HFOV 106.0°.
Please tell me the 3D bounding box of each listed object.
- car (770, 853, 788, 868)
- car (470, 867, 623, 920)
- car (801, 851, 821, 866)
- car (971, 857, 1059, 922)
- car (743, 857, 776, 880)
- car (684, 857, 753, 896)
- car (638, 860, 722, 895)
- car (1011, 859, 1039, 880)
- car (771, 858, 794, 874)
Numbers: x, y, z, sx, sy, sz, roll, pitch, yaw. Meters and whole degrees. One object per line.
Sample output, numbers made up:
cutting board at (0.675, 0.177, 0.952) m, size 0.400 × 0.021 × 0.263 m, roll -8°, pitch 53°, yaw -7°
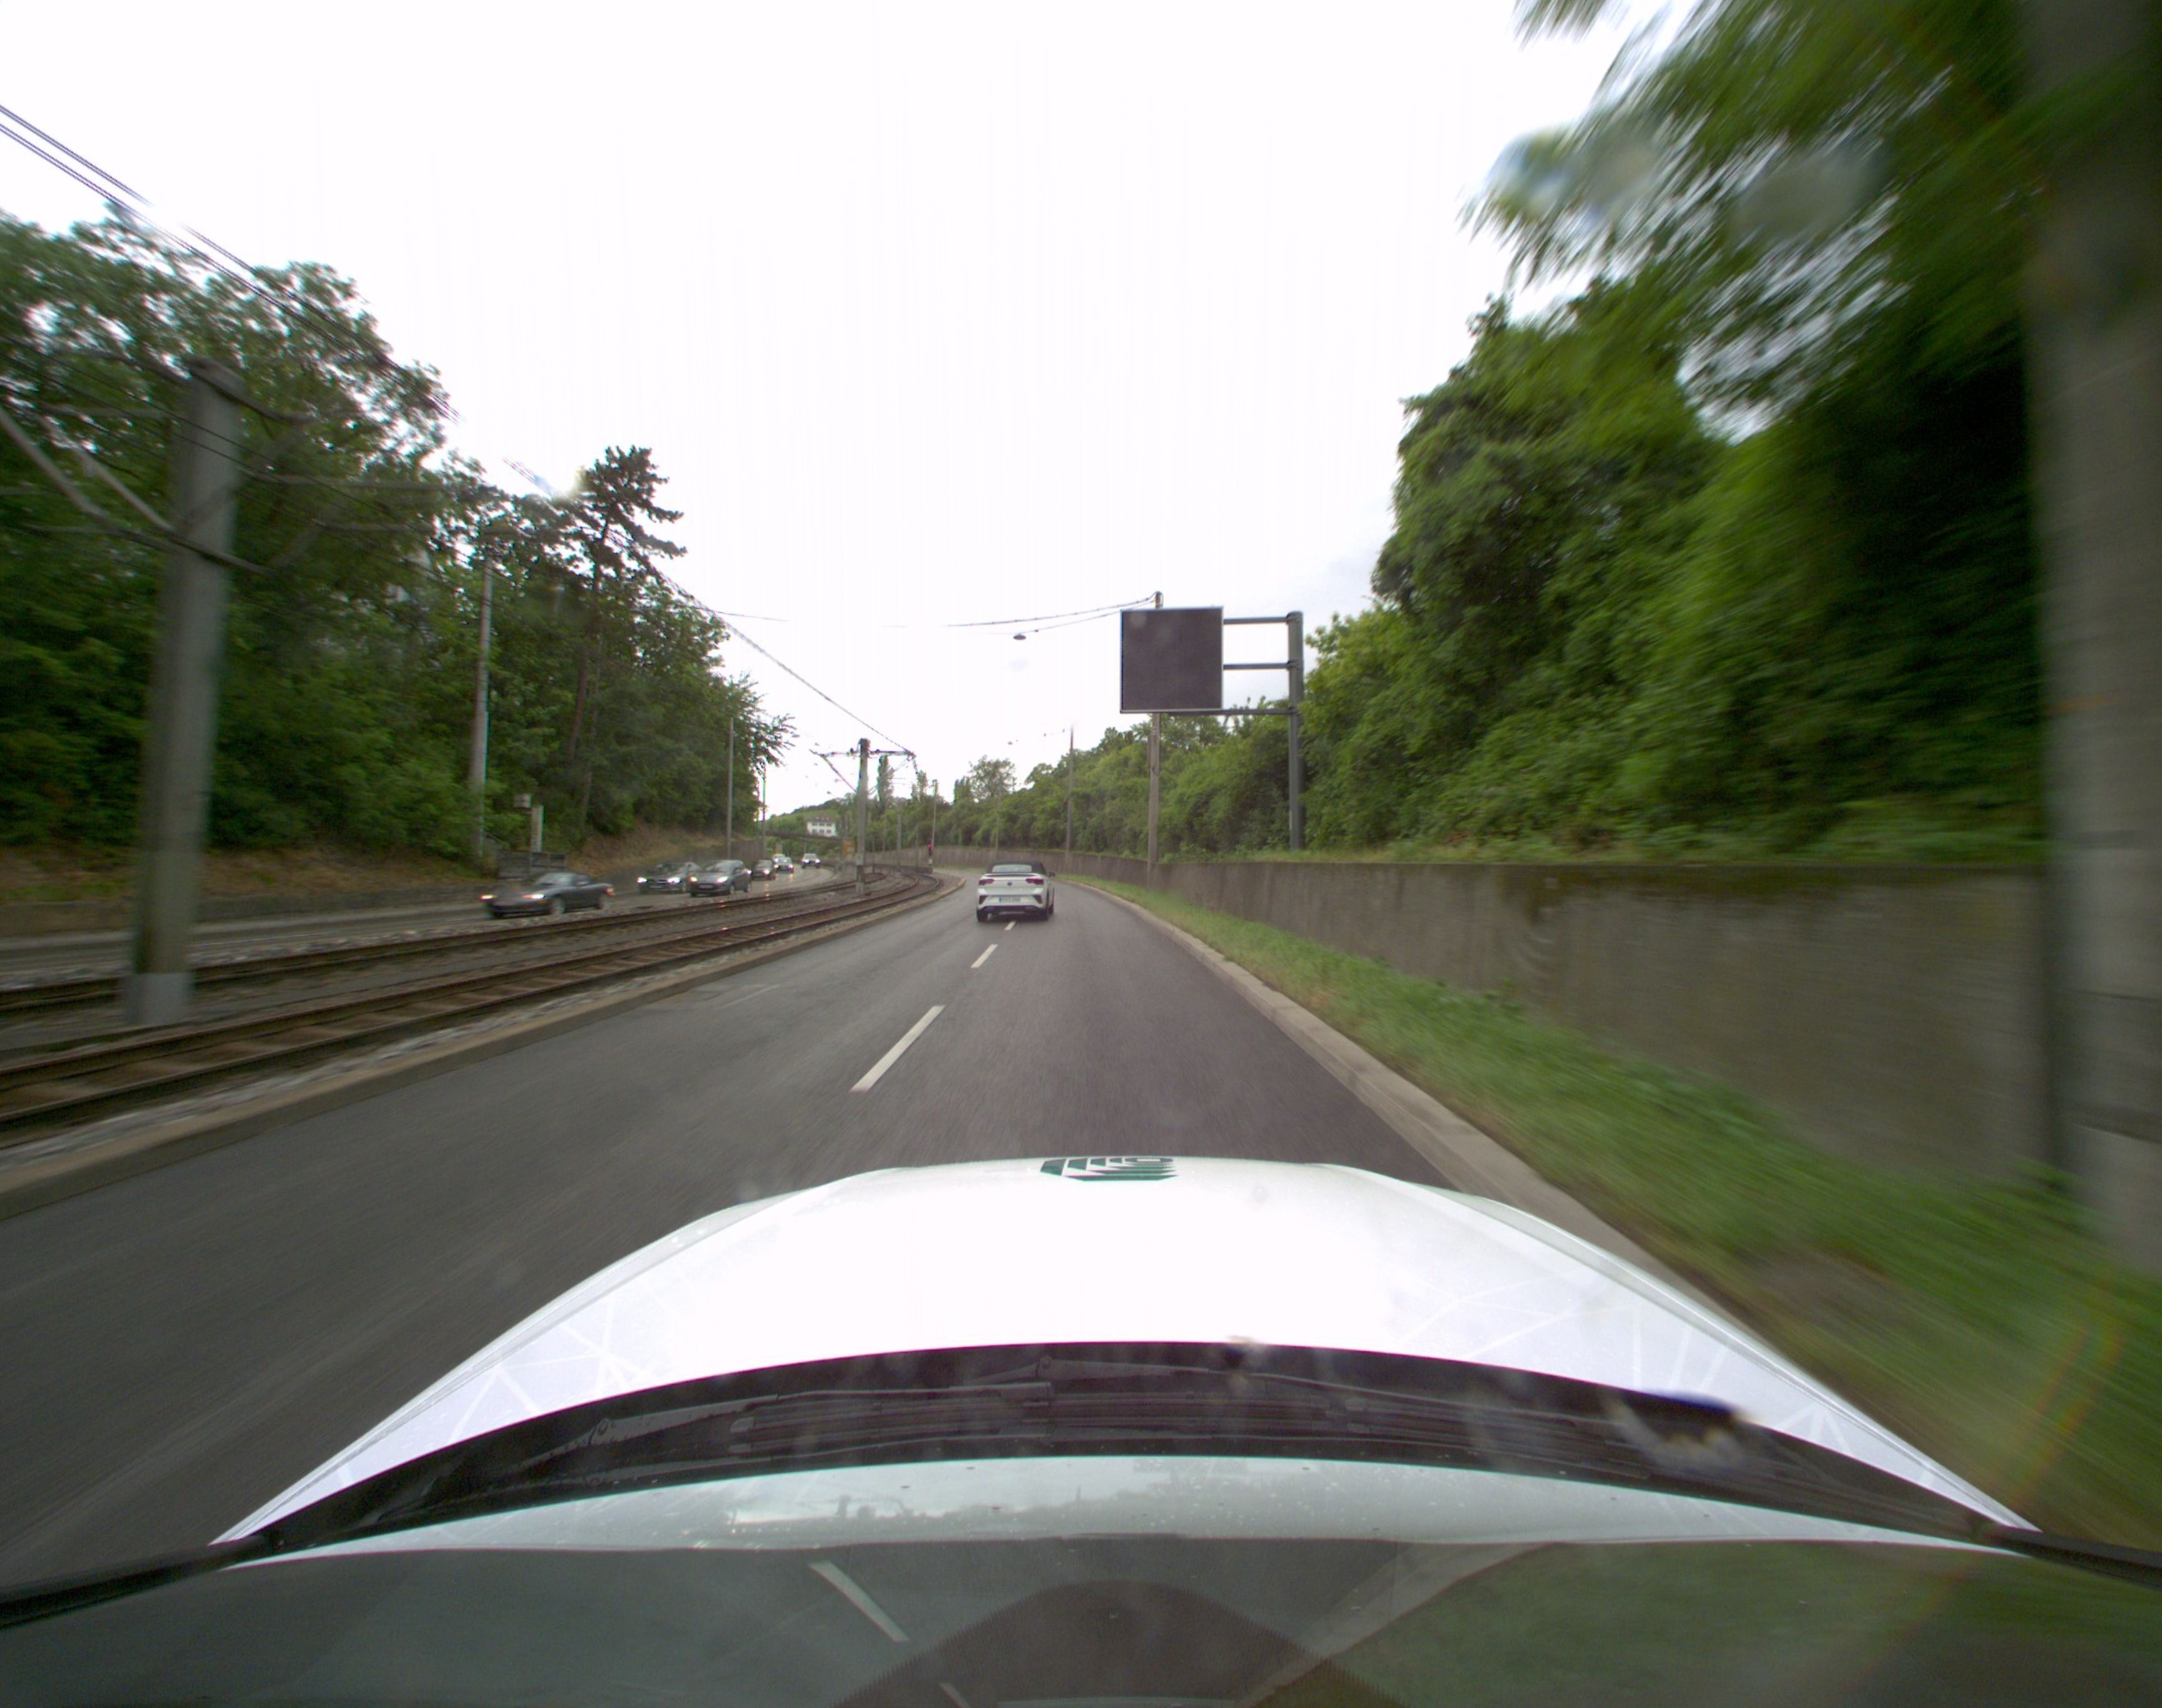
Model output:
car at (-41.476, 0.827, 112.069) m, size 1.998 × 2.014 × 3.978 m, roll 1°, pitch -1°, yaw -16°
car at (-14.560, 1.035, 22.456) m, size 1.538 × 1.258 × 3.959 m, roll -2°, pitch -1°, yaw 0°
car at (-33.822, 0.564, 101.954) m, size 1.935 × 1.787 × 4.417 m, roll 0°, pitch 0°, yaw -23°
car at (-1.642, 0.863, 21.714) m, size 1.865 × 1.524 × 4.541 m, roll -1°, pitch 0°, yaw 1°
car at (-22.997, 1.031, 58.330) m, size 1.748 × 1.516 × 4.550 m, roll -1°, pitch 0°, yaw -16°
car at (-15.088, 0.905, 34.081) m, size 1.536 × 1.491 × 3.613 m, roll -2°, pitch 0°, yaw -6°
car at (-18.335, 1.022, 37.492) m, size 1.813 × 1.462 × 4.652 m, roll -1°, pitch 0°, yaw -5°
car at (-4.231, 1.175, 61.571) m, size 1.763 × 1.501 × 3.987 m, roll 1°, pitch -1°, yaw -9°
car at (-29.148, 1.159, 79.607) m, size 1.932 × 1.415 × 4.424 m, roll -1°, pitch 0°, yaw -18°
